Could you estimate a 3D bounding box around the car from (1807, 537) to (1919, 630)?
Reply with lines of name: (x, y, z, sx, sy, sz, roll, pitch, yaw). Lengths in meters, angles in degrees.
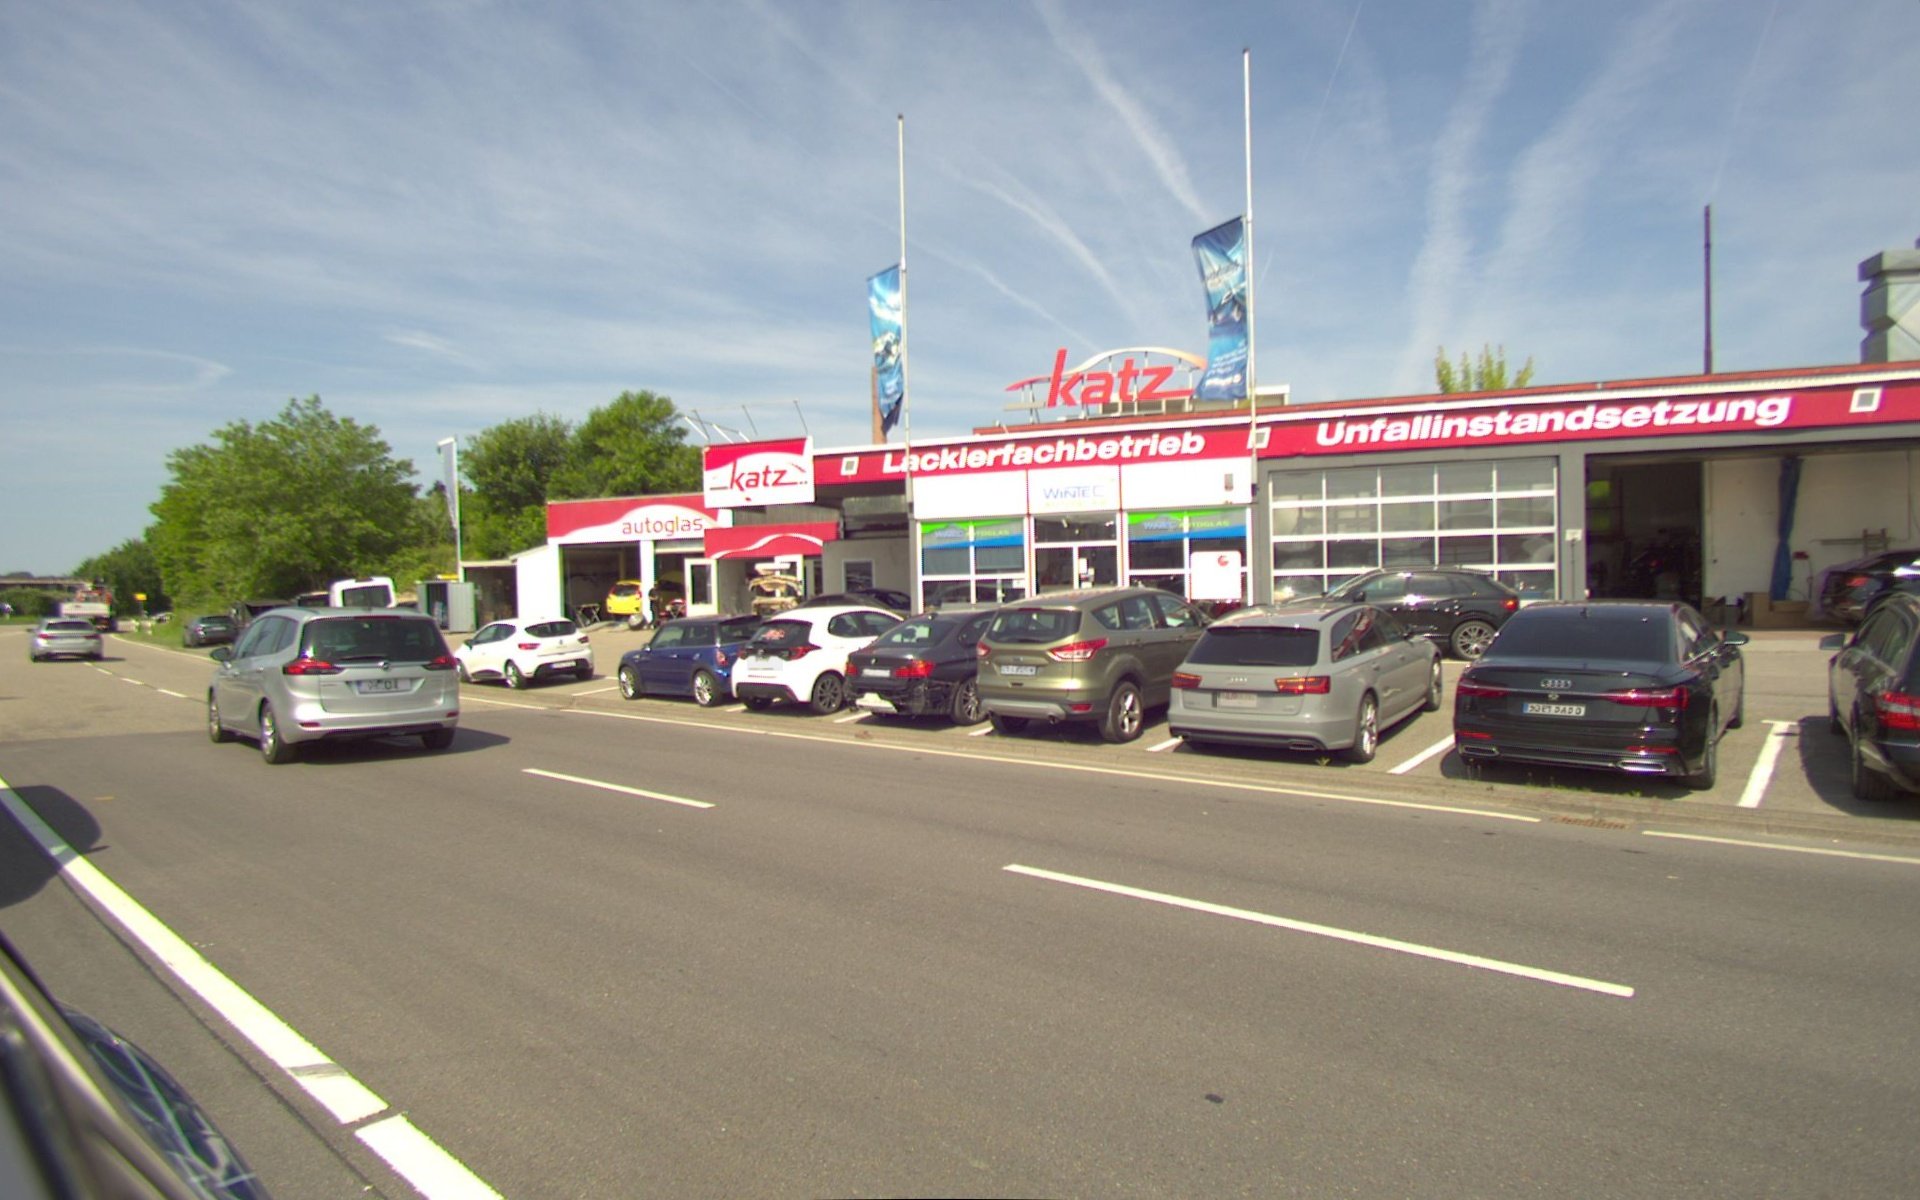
car: (18.666, -0.311, 18.911, 3.997, 1.685, 1.894, -1, -1, 29)

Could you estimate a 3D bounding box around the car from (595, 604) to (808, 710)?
car: (-4.597, 0.917, 17.772, 3.781, 1.505, 1.761, -1, 4, 43)

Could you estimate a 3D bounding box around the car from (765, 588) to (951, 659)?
car: (-2.631, 0.605, 26.208, 4.360, 1.516, 1.849, -3, 2, 19)

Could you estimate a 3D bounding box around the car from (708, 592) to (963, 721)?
car: (-1.865, 0.790, 16.117, 1.844, 1.536, 3.760, -1, 3, 38)

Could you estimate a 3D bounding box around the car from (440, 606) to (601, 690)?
car: (-9.692, 0.992, 22.186, 4.000, 1.630, 1.760, -1, 0, 43)

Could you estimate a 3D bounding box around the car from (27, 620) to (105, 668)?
car: (-31.408, 1.483, 35.515, 1.887, 1.533, 4.785, 0, -1, -43)

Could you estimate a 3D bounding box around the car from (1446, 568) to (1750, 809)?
car: (6.074, 0.595, 9.380, 1.797, 1.495, 4.256, -1, 3, 40)

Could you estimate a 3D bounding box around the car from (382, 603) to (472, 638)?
car: (-25.387, 0.950, 48.315, 1.725, 1.541, 3.649, -1, 0, 18)

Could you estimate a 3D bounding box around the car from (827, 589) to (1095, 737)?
car: (0.138, 0.755, 14.103, 1.790, 1.536, 3.673, -1, 3, 38)

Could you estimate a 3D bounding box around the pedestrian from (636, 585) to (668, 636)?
pedestrian: (-10.862, 0.357, 35.727, 0.895, 1.775, 0.714, 0, 1, 44)

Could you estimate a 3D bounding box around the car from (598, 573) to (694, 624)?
car: (-12.246, -0.092, 39.719, 1.726, 1.738, 3.650, -1, 3, 19)

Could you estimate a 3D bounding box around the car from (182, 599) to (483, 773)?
car: (-7.460, 0.879, 11.875, 4.179, 1.675, 1.889, -1, -2, 42)

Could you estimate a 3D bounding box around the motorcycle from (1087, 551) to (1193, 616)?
motorcycle: (3.700, -0.315, 20.814, 2.040, 1.271, 0.767, -1, -1, 20)

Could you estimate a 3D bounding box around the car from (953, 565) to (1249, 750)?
car: (1.880, 0.565, 12.526, 1.805, 1.729, 3.848, -1, 3, 40)

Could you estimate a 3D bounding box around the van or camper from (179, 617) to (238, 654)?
van or camper: (-34.772, 1.619, 46.794, 1.621, 1.535, 4.471, -2, 1, -44)

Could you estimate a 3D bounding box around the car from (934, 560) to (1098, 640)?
car: (1.401, -0.008, 24.880, 3.727, 1.772, 1.696, -1, 3, 16)

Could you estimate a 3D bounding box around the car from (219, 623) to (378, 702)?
car: (-14.031, 1.243, 21.377, 4.079, 1.459, 1.817, -1, -1, 42)

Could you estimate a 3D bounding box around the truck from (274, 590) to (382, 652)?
truck: (-28.414, 0.895, 45.321, 2.304, 2.313, 8.812, -7, 4, -43)

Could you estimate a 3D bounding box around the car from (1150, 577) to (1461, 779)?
car: (3.897, 0.652, 10.926, 1.834, 1.495, 4.237, -1, 3, 38)

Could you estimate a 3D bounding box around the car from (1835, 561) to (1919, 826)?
car: (8.052, 0.535, 7.782, 1.770, 1.495, 4.417, -1, 3, 38)

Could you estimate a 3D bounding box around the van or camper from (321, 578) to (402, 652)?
van or camper: (-23.288, 0.542, 39.232, 2.126, 2.517, 5.965, -5, 3, -34)

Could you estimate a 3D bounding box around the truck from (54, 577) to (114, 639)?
truck: (-64.170, 0.679, 74.335, 2.918, 4.241, 10.665, 2, -2, -39)

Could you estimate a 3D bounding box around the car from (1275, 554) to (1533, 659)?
car: (7.996, 0.074, 18.657, 4.090, 1.686, 1.819, 0, 5, 16)
